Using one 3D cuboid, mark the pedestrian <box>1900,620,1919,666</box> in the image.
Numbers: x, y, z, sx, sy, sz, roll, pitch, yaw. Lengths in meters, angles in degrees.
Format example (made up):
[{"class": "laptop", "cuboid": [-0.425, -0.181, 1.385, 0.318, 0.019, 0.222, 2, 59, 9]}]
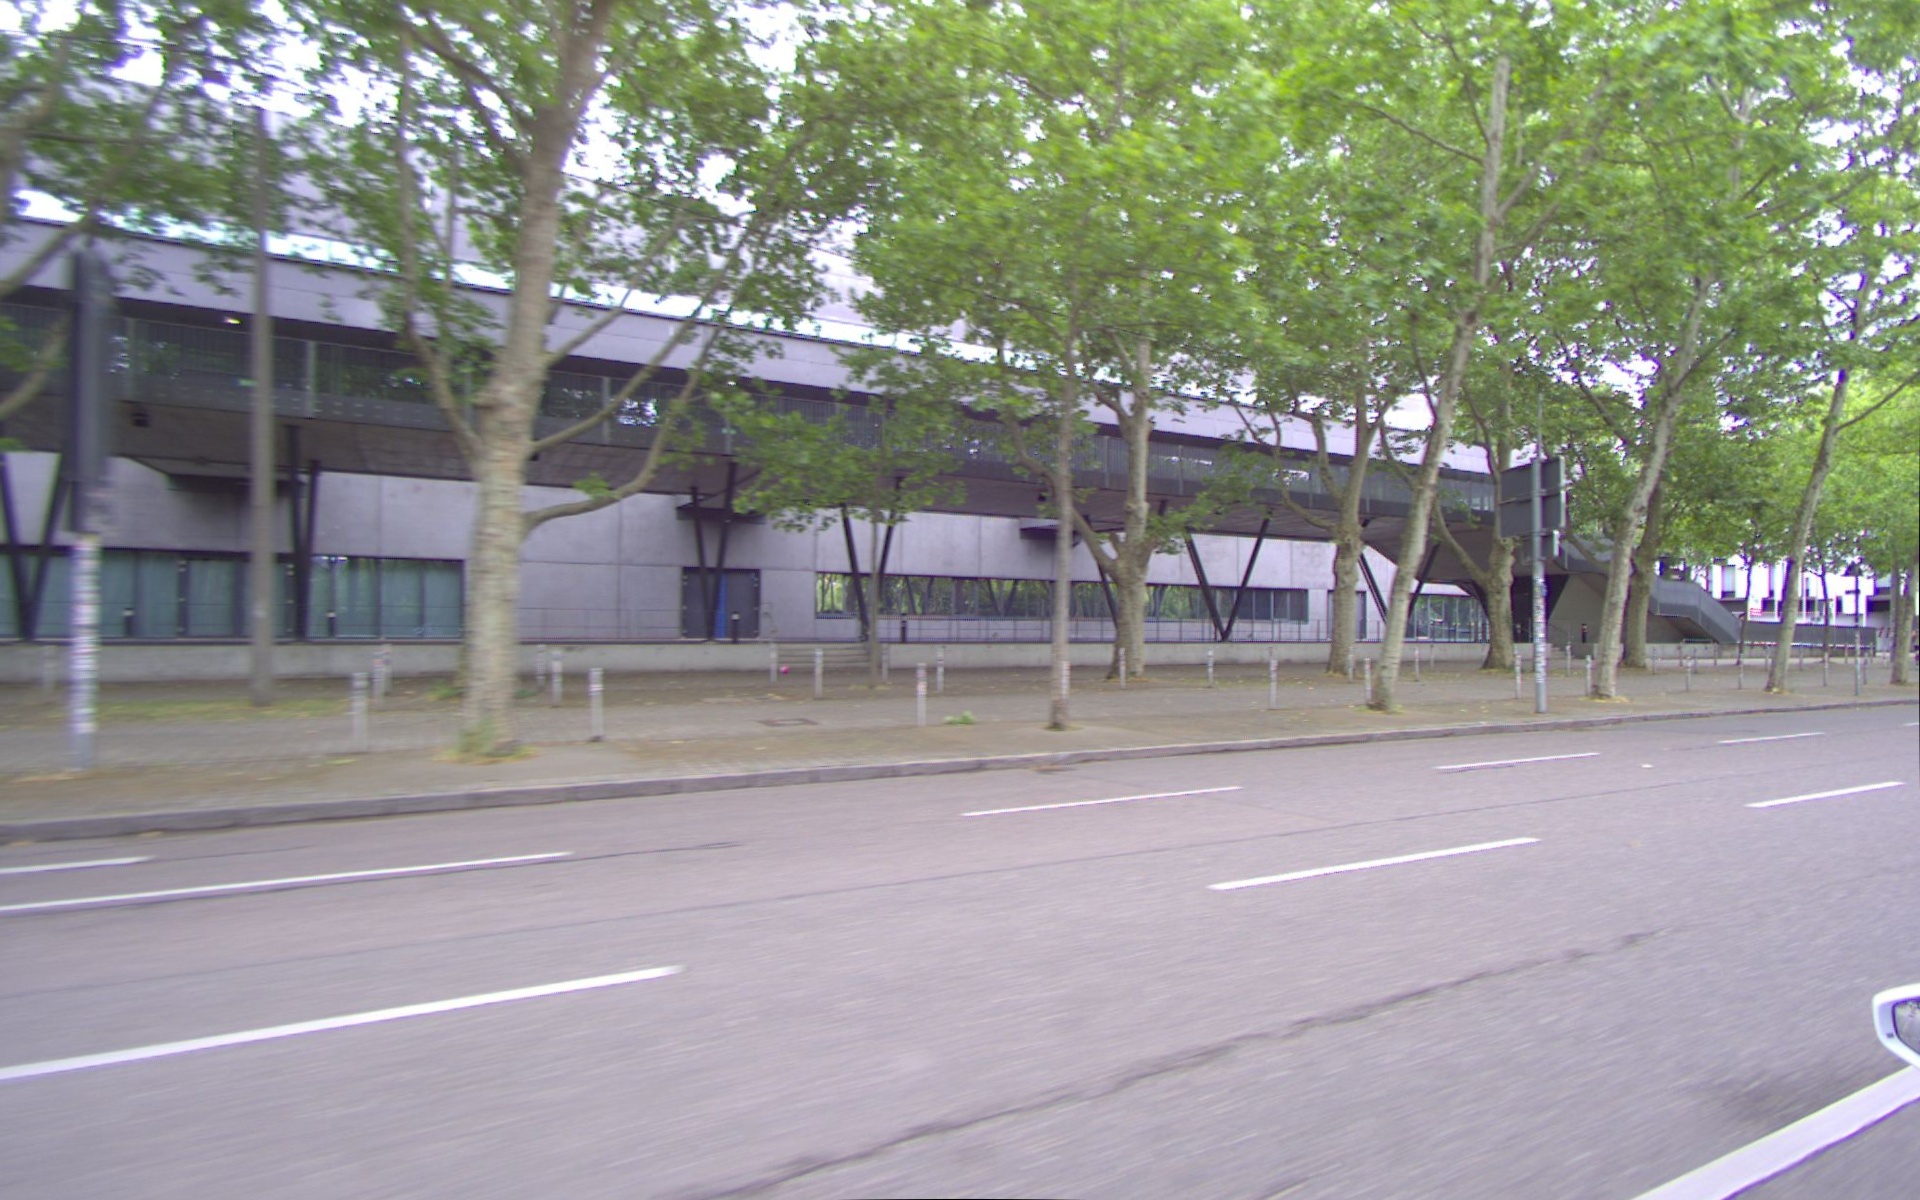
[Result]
[{"class": "pedestrian", "cuboid": [38.816, 1.733, 40.762, 0.758, 1.859, 0.878, 0, -1, 27]}]
